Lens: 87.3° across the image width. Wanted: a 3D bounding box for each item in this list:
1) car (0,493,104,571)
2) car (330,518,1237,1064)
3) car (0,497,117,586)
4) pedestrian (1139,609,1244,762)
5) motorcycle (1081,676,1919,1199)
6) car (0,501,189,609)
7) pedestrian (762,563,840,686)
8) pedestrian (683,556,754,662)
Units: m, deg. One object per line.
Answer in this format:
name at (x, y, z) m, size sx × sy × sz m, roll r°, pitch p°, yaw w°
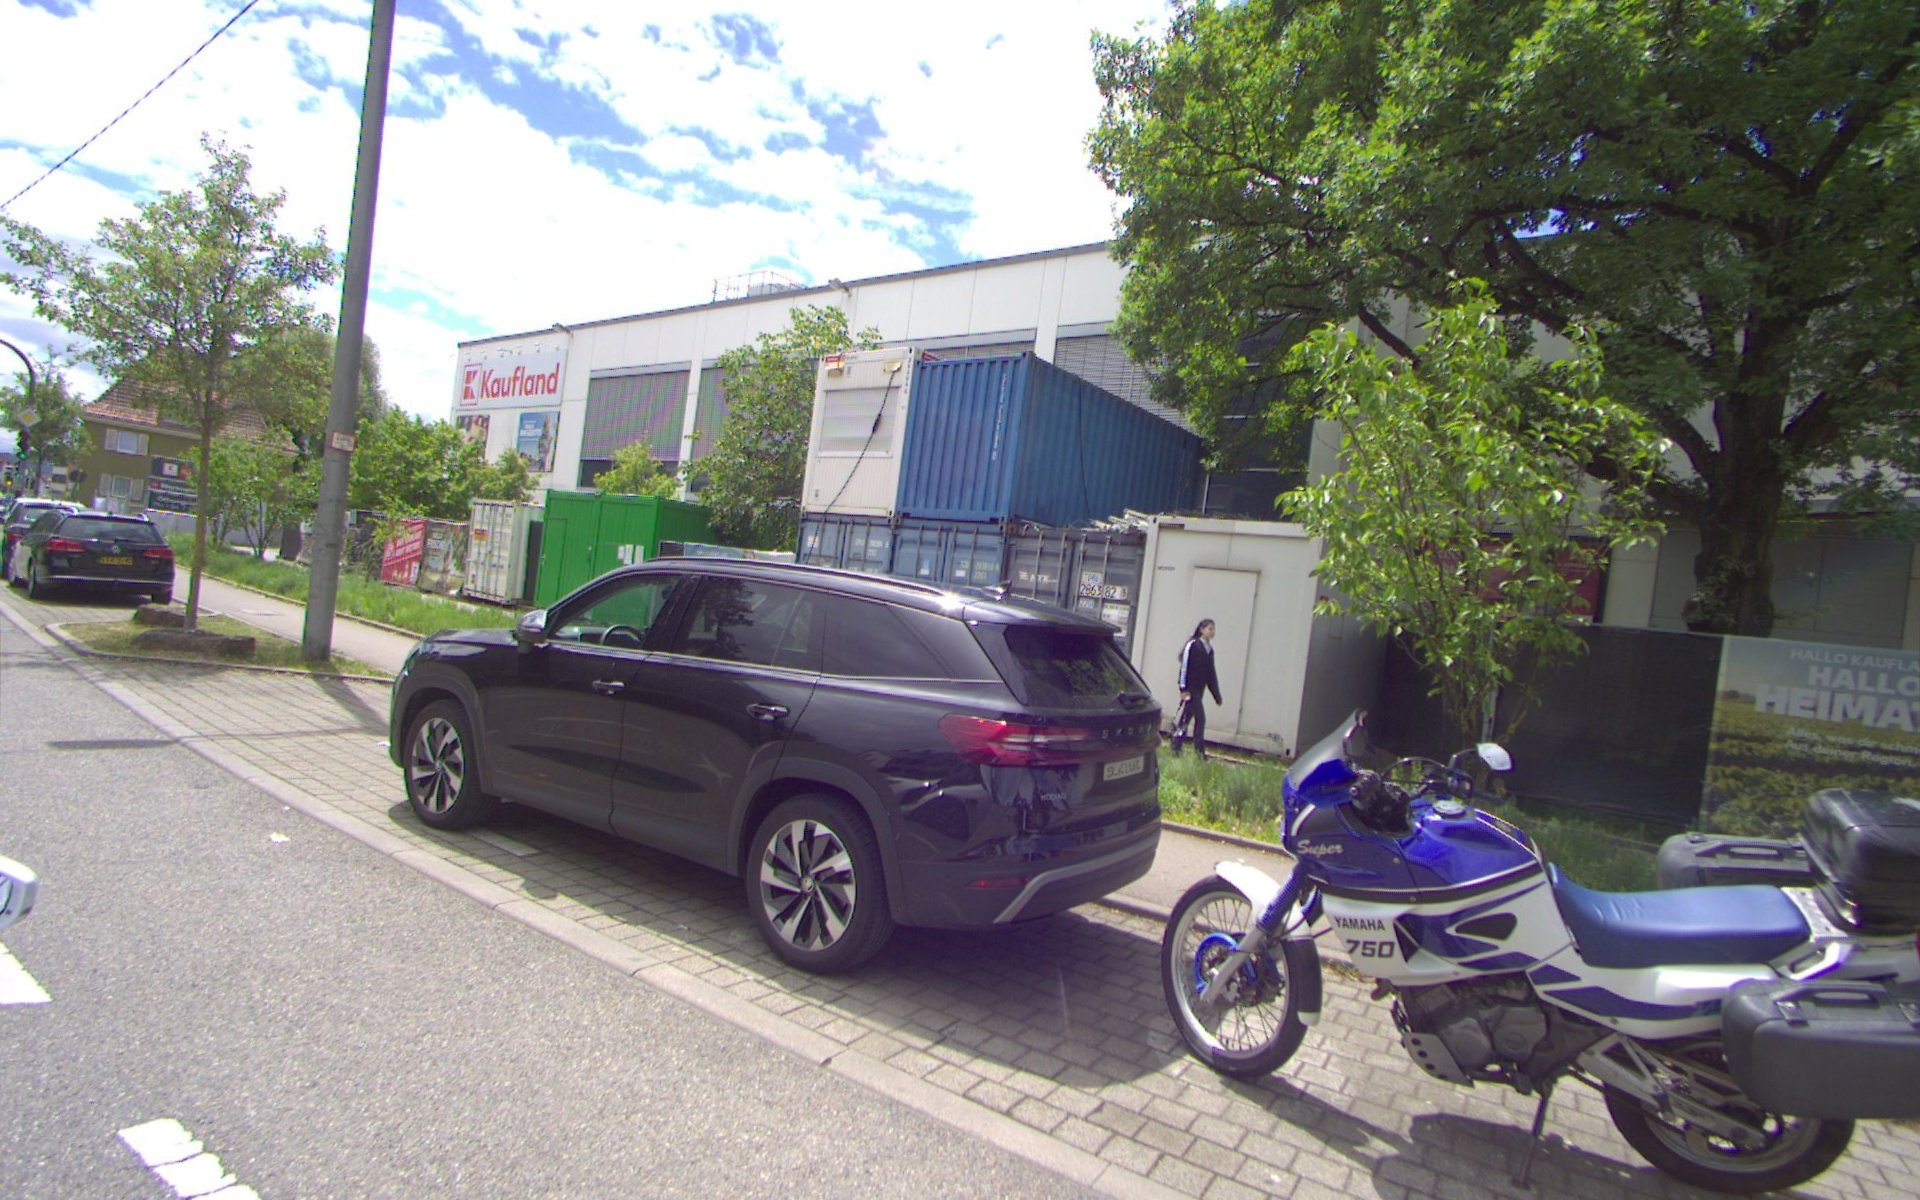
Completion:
car at (-22.429, -1.698, 24.628) m, size 4.328 × 1.637 × 1.732 m, roll 6°, pitch 2°, yaw 43°
car at (-1.199, 0.594, 5.485) m, size 4.768 × 1.642 × 1.879 m, roll 6°, pitch 1°, yaw 33°
car at (-18.620, -1.234, 20.603) m, size 3.947 × 1.512 × 1.564 m, roll 6°, pitch 0°, yaw 44°
pedestrian at (2.674, 0.981, 11.600) m, size 0.756 × 1.637 × 0.742 m, roll 7°, pitch 0°, yaw 40°
motorcycle at (1.668, 1.058, 3.124) m, size 2.222 × 1.323 × 1.071 m, roll 6°, pitch 2°, yaw 31°
car at (-14.960, -0.822, 17.283) m, size 4.866 × 1.496 × 1.760 m, roll 6°, pitch 2°, yaw 41°
pedestrian at (-2.353, 0.363, 14.863) m, size 0.714 × 1.717 × 0.650 m, roll 7°, pitch 0°, yaw 40°
pedestrian at (-4.169, 0.157, 17.348) m, size 0.832 × 1.718 × 0.651 m, roll 7°, pitch 0°, yaw 40°
